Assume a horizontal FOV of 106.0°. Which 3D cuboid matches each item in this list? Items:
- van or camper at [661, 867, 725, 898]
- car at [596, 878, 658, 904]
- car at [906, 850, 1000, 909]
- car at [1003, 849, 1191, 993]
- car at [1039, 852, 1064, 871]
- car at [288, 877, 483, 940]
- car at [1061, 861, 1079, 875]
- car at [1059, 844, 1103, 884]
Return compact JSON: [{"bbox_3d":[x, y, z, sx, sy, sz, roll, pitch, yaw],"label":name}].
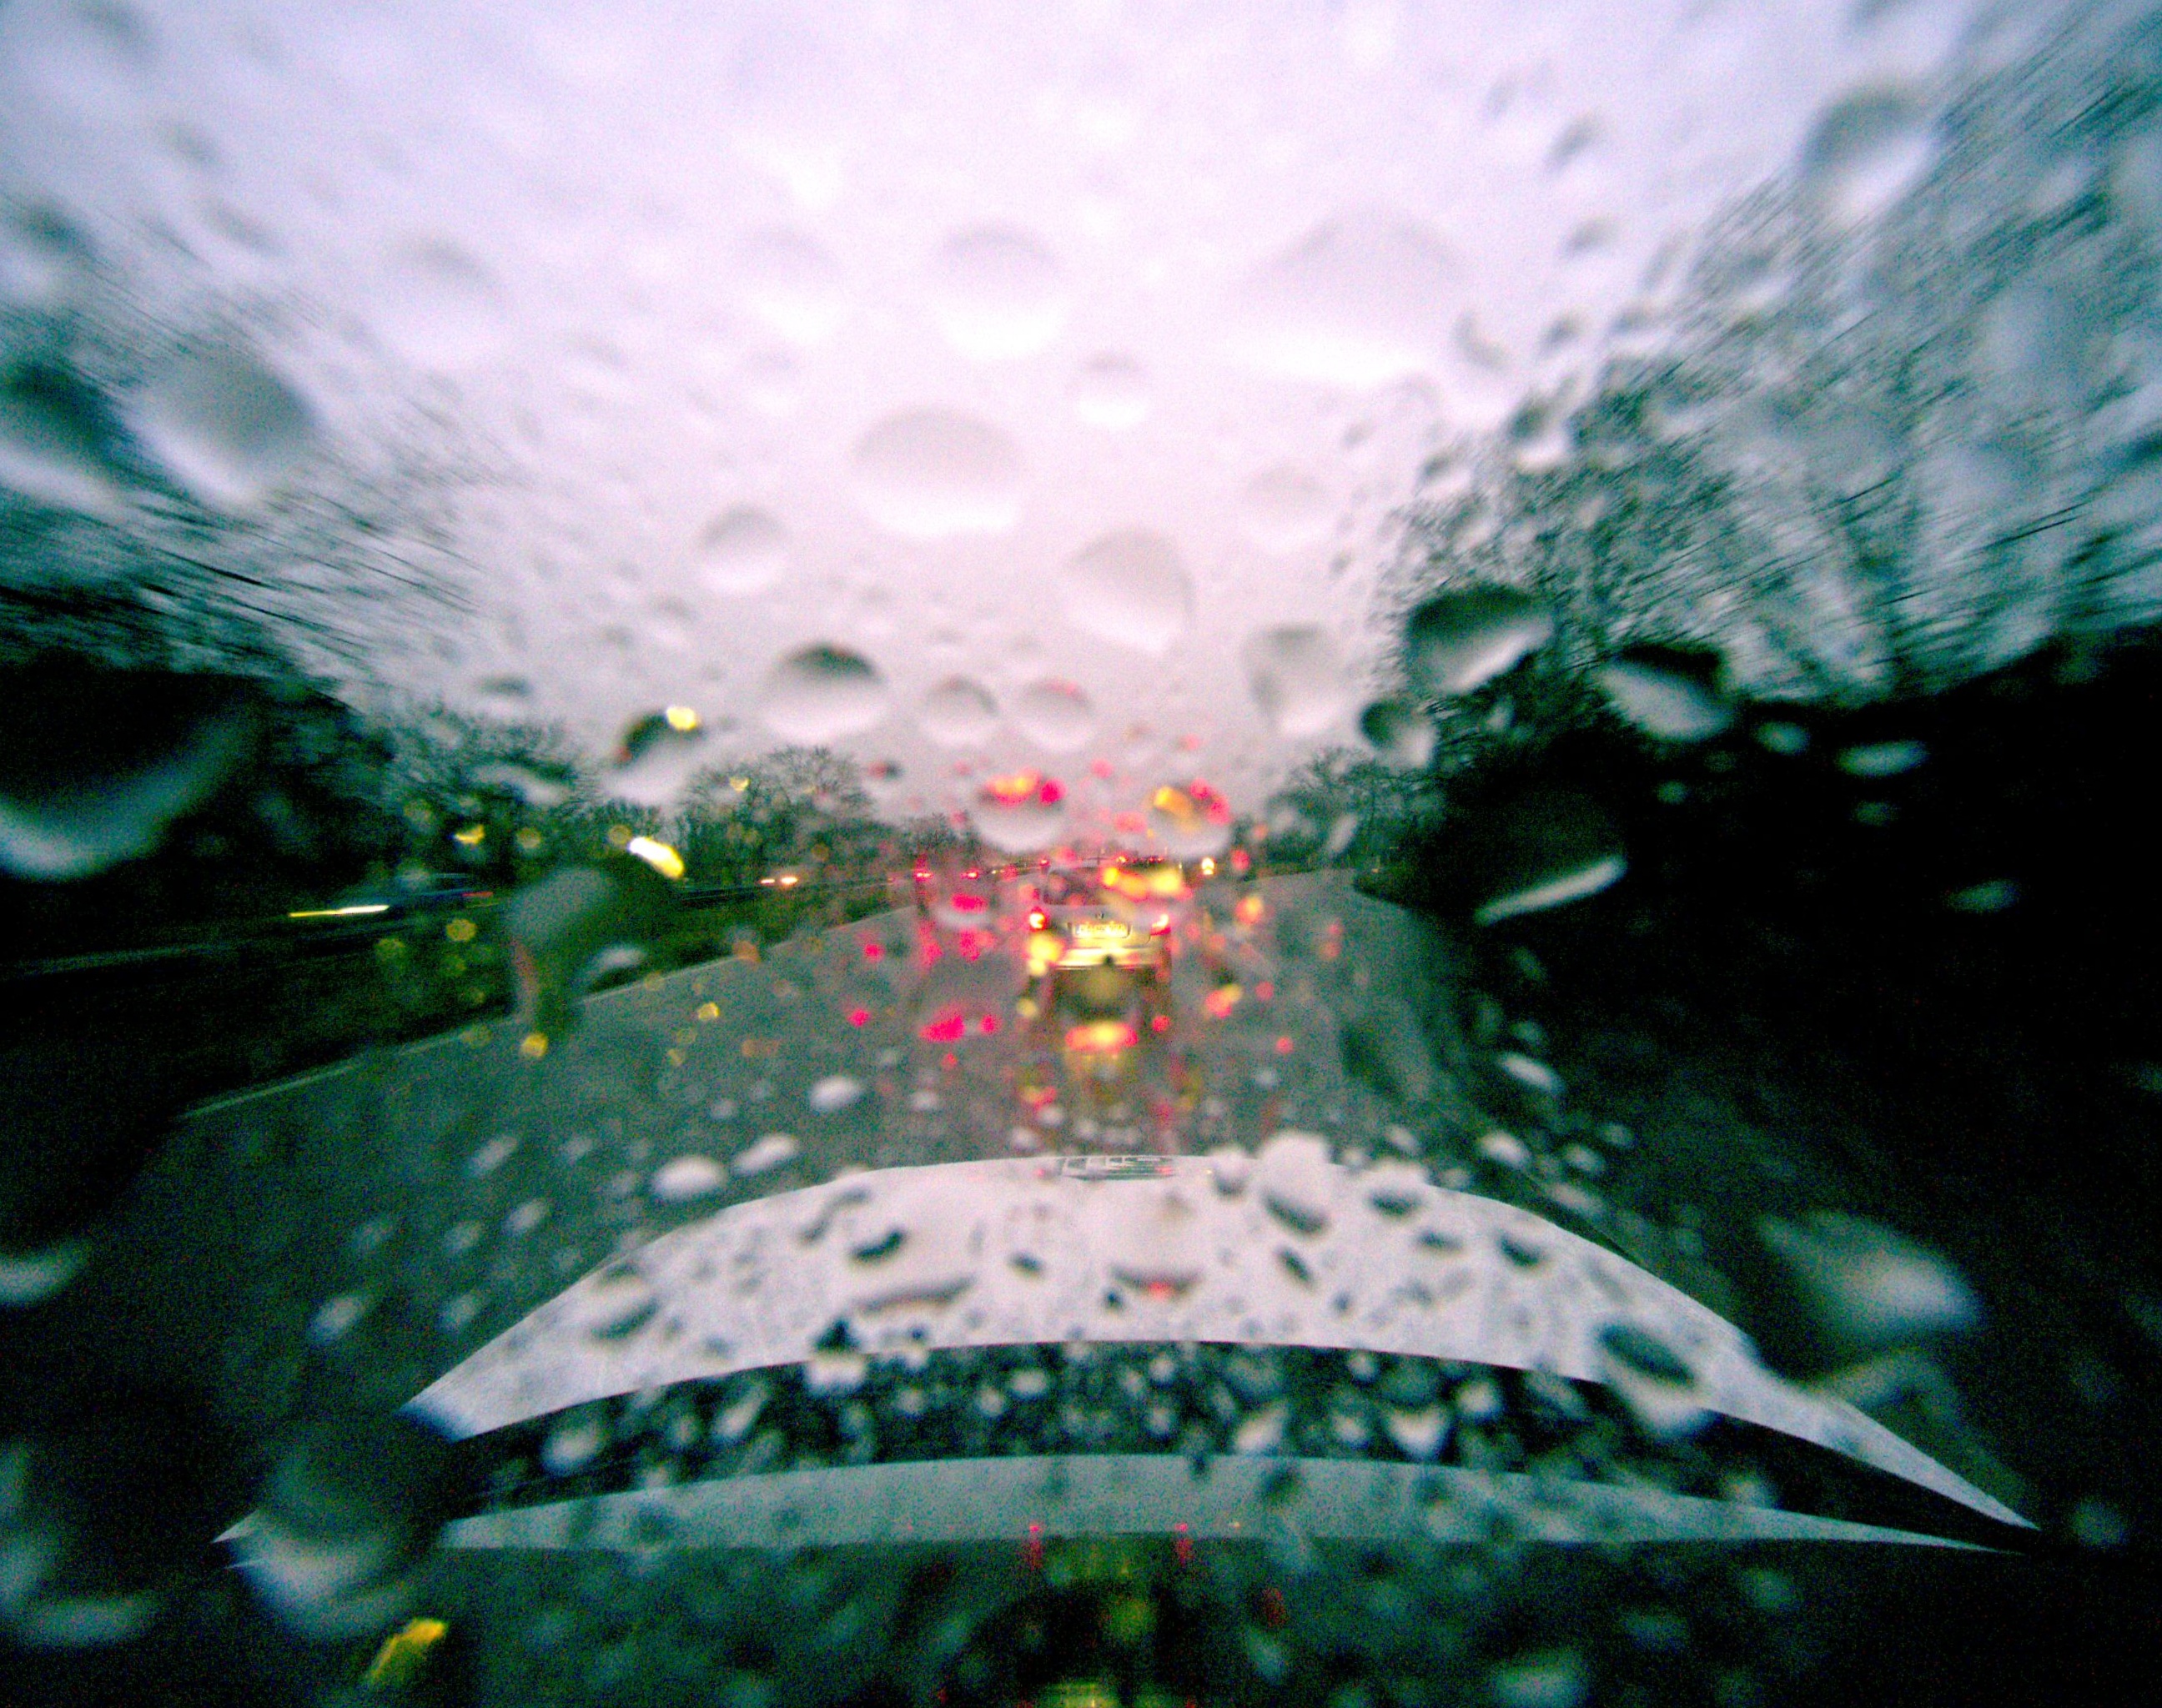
[{"bbox_3d":[-23.630,1.700,49.739,1.642,1.784,4.212,-2,-1,3],"label":"van or camper"},{"bbox_3d":[-31.333,2.515,56.378,1.779,1.609,4.676,-2,-1,-3],"label":"car"},{"bbox_3d":[-3.709,0.714,24.398,1.986,1.601,4.310,0,0,2],"label":"car"},{"bbox_3d":[0.297,0.755,10.881,1.985,1.500,4.141,-2,-1,3],"label":"car"},{"bbox_3d":[-2.608,0.619,72.559,1.782,1.545,4.004,-3,0,3],"label":"car"},{"bbox_3d":[-20.554,1.540,24.379,1.642,1.566,4.601,-2,-1,3],"label":"car"},{"bbox_3d":[-1.322,1.612,96.824,1.782,1.545,4.003,-2,-1,3],"label":"car"},{"bbox_3d":[-0.054,0.478,40.526,1.893,1.767,4.303,-3,0,-3],"label":"car"}]
